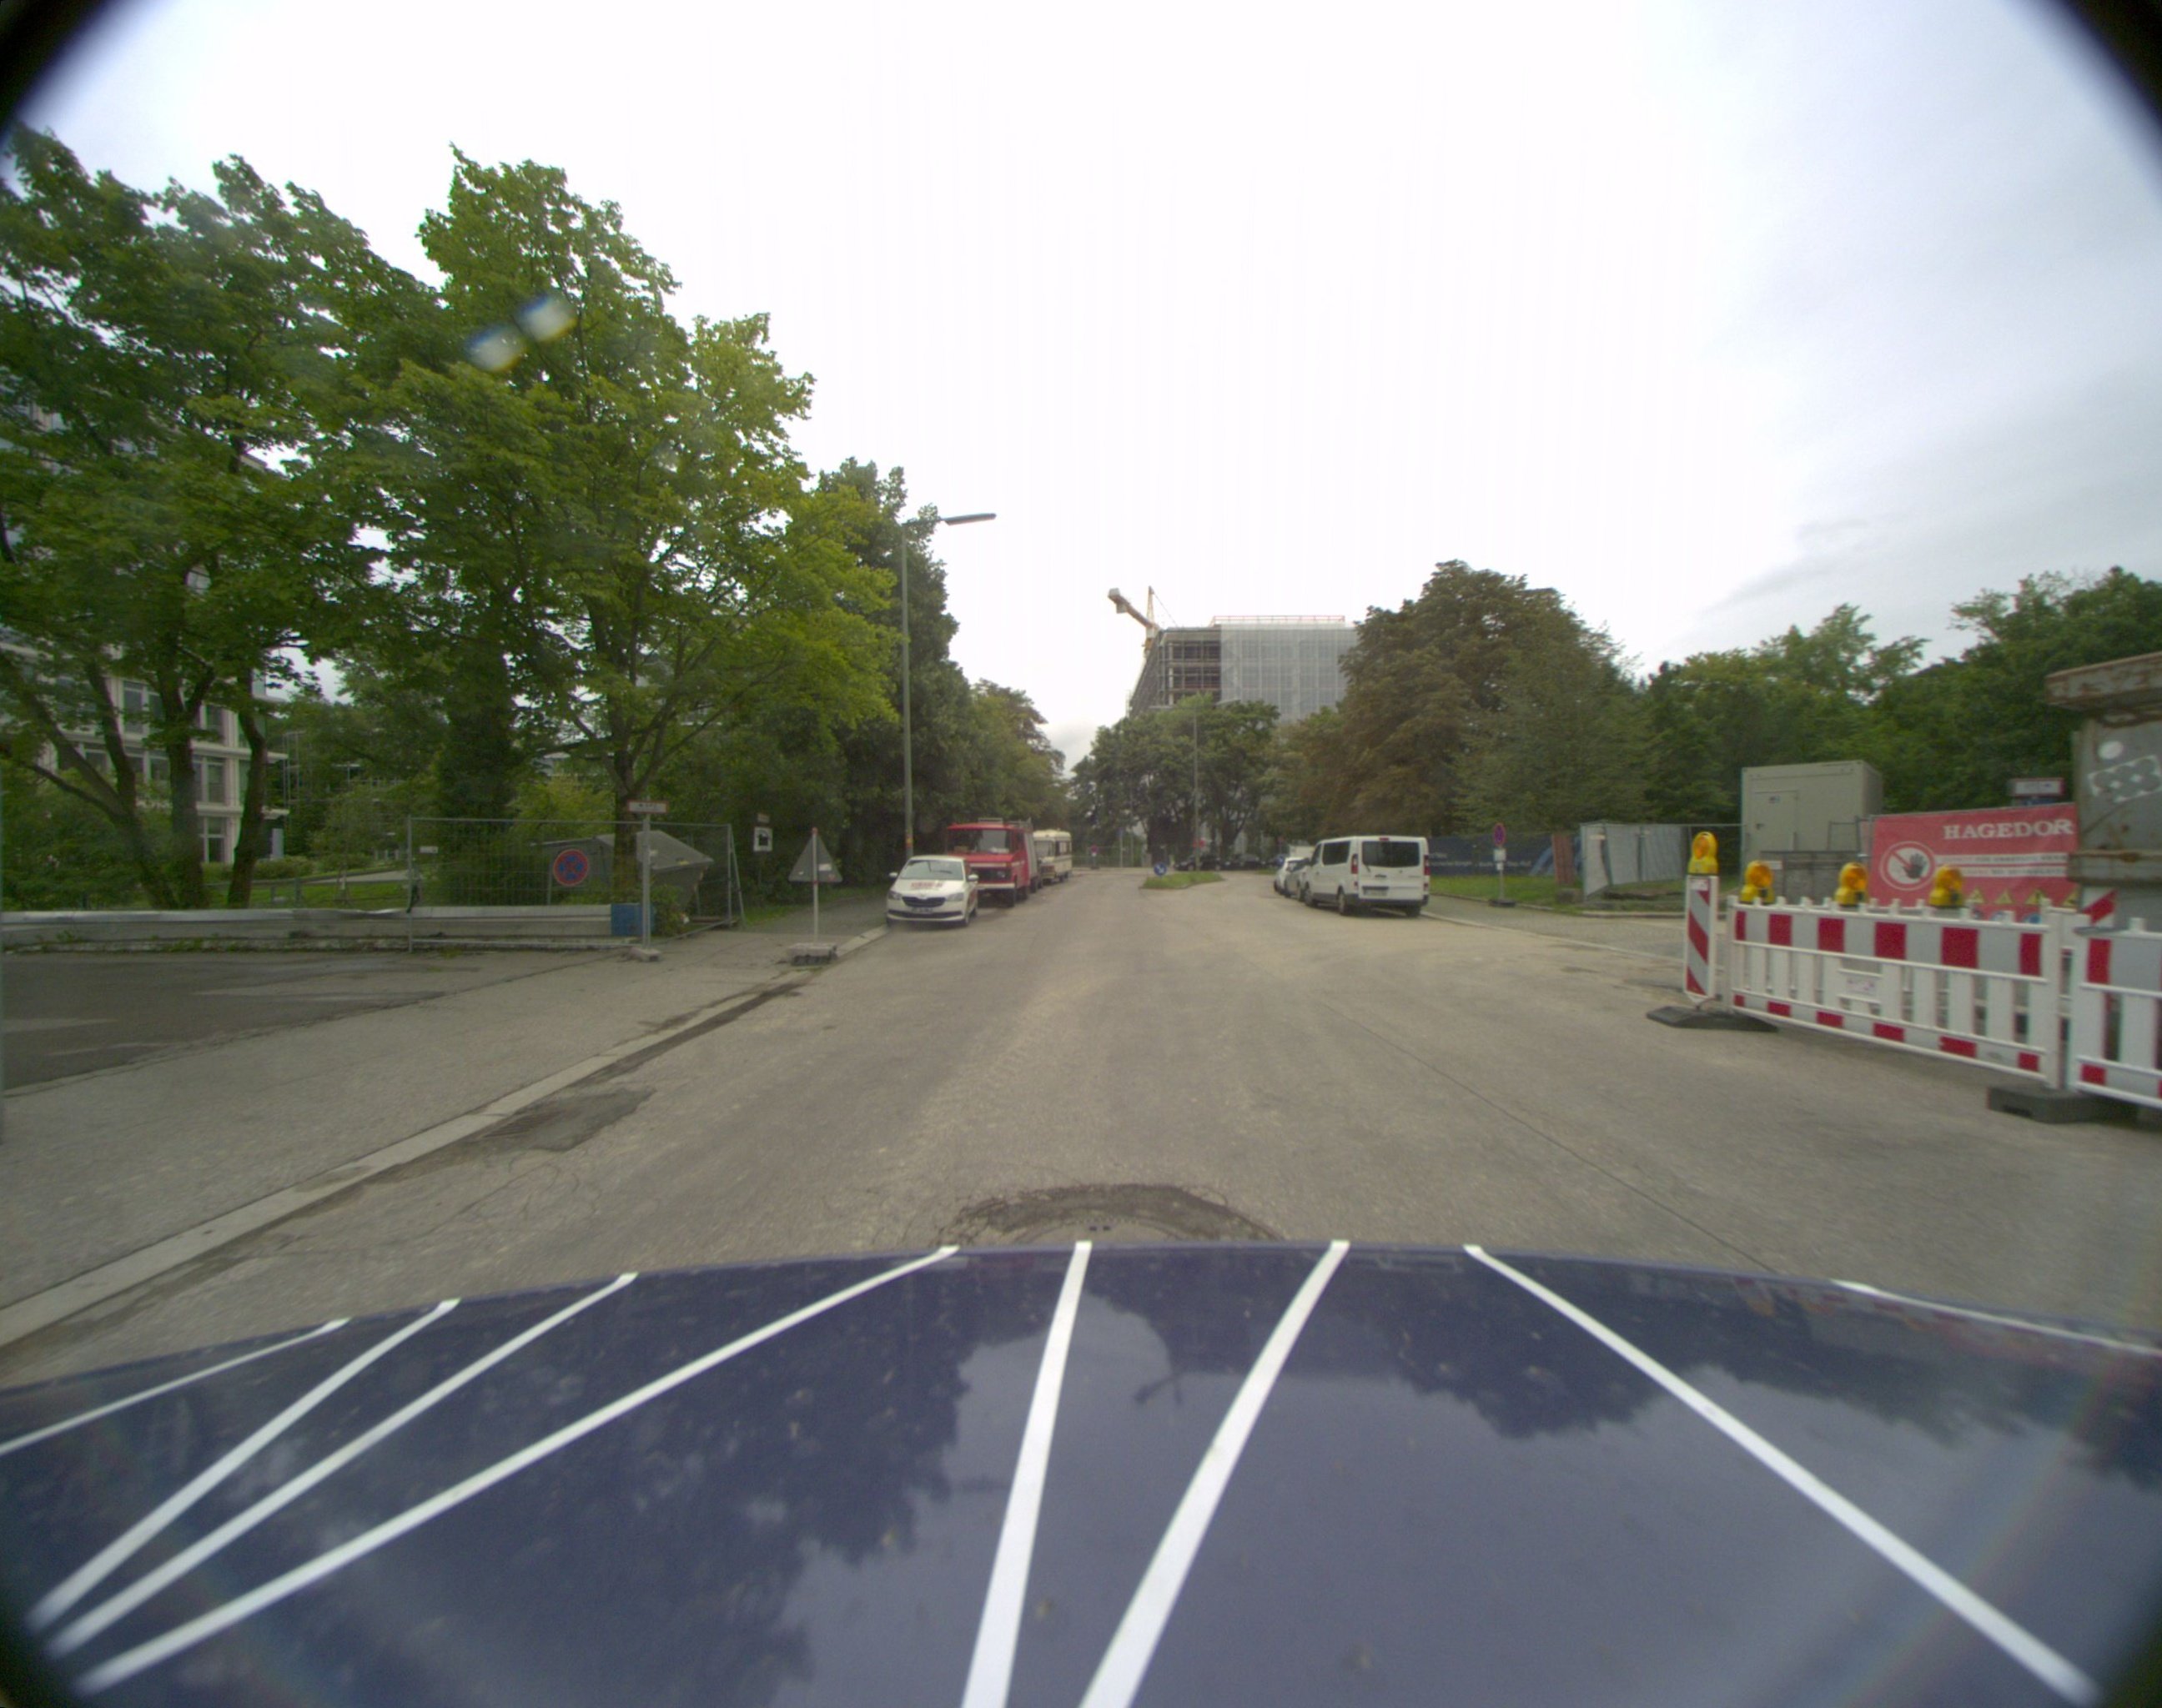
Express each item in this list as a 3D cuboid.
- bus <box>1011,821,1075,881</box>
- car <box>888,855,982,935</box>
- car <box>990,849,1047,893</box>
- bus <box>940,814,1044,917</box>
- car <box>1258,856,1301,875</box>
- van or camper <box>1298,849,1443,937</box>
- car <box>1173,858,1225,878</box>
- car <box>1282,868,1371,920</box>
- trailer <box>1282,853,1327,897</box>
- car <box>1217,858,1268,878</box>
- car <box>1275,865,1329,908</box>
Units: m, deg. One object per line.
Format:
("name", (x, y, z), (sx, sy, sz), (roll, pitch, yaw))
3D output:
("bus", (-1.766, -0.156, 37.681), (2.076, 2.714, 5.870), (0, 1, 8))
("car", (-3.177, 0.816, 17.178), (1.536, 1.483, 4.058), (0, 1, -3))
("car", (-2.405, 0.642, 30.269), (1.782, 1.630, 4.398), (0, 0, 2))
("bus", (-2.581, 0.281, 23.751), (2.077, 2.789, 6.273), (0, 1, 4))
("car", (17.359, 1.011, 66.487), (3.267, 1.564, 1.656), (0, 2, -22))
("van or camper", (7.516, 0.906, 20.449), (1.994, 2.022, 5.587), (1, 0, 3))
("car", (9.640, 1.119, 62.132), (3.891, 1.564, 1.786), (0, 2, -23))
("car", (8.147, 1.268, 25.618), (1.997, 1.450, 4.121), (2, 1, 6))
("trailer", (11.856, 1.065, 40.248), (1.778, 2.169, 2.781), (2, 1, 26))
("car", (13.632, 1.163, 64.120), (3.892, 1.564, 1.785), (-1, 2, -28))
("car", (8.826, 1.249, 30.566), (1.739, 1.450, 4.034), (2, 1, 12))
